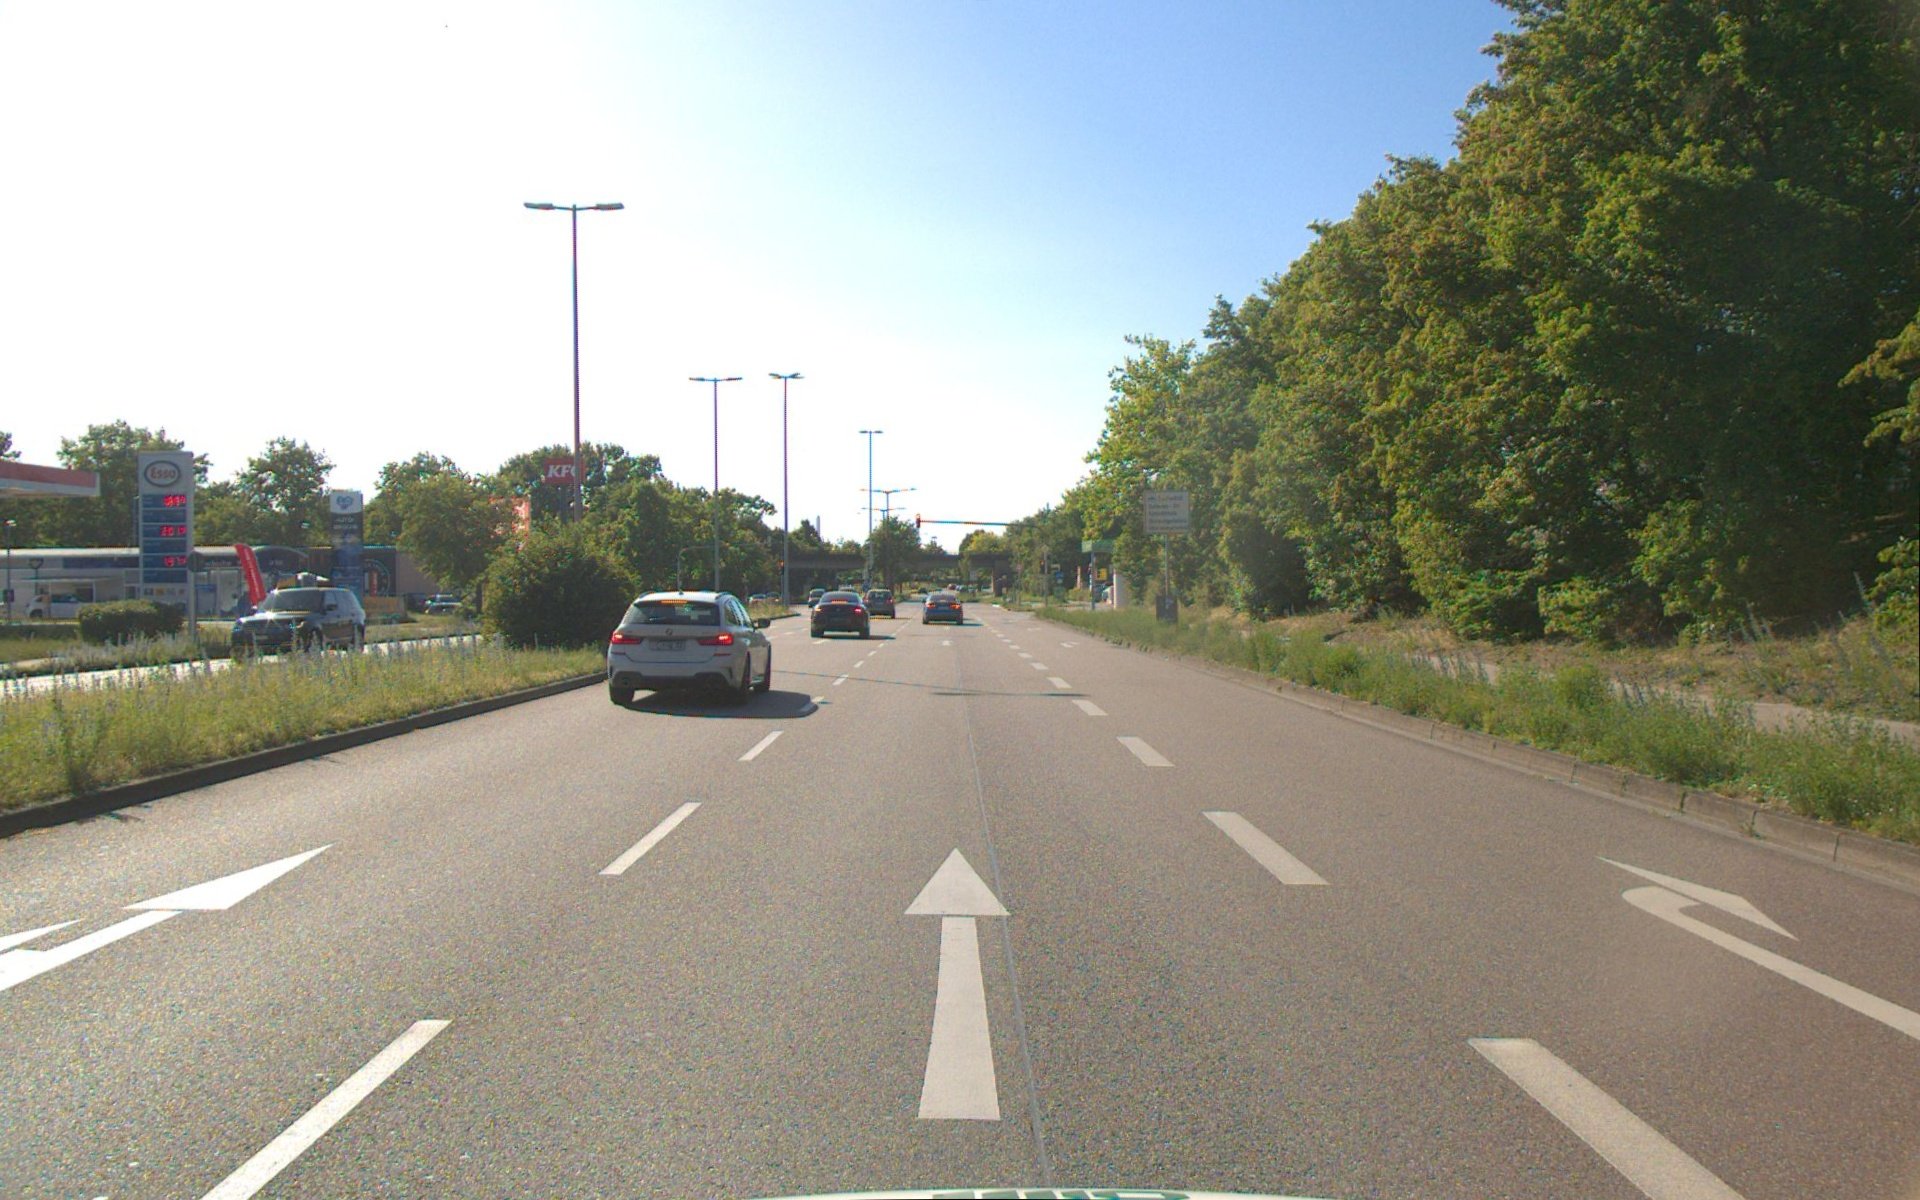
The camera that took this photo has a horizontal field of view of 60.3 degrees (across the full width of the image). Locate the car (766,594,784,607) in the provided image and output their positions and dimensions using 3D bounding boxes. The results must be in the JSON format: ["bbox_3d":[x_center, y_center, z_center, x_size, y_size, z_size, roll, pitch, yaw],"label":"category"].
[{"bbox_3d":[-20.672,0.033,185.016,1.669,1.426,3.722,-1,0,-1],"label":"car"}]

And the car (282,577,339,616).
[{"bbox_3d":[-37.723,-0.215,96.200,1.782,2.248,3.999,0,0,-1],"label":"car"}]

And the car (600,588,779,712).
[{"bbox_3d":[-3.636,0.607,22.981,1.824,1.480,4.546,1,1,-2],"label":"car"}]

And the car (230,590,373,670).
[{"bbox_3d":[-16.705,0.707,42.192,1.704,1.833,4.671,-3,0,0],"label":"car"}]

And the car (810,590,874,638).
[{"bbox_3d":[-3.840,0.439,54.286,1.824,1.480,4.547,-1,0,-1],"label":"car"}]

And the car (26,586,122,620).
[{"bbox_3d":[-50.026,0.158,93.453,4.297,1.875,1.999,0,0,-3],"label":"car"}]

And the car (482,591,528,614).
[{"bbox_3d":[-36.385,0.204,132.237,1.913,1.814,4.020,0,0,-44],"label":"car"}]

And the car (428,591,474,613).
[{"bbox_3d":[-43.191,0.146,140.389,4.011,1.814,1.917,0,0,40],"label":"car"}]

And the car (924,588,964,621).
[{"bbox_3d":[-0.760,0.189,77.692,1.824,1.525,4.336,0,0,-1],"label":"car"}]

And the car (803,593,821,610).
[{"bbox_3d":[-14.493,0.119,162.152,1.504,1.608,3.671,-1,0,-1],"label":"car"}]

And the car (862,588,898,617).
[{"bbox_3d":[-4.457,0.106,92.840,1.824,1.592,4.547,0,0,-1],"label":"car"}]

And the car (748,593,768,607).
[{"bbox_3d":[-20.825,-0.002,170.863,1.669,1.426,3.722,0,0,-1],"label":"car"}]

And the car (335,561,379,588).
[{"bbox_3d":[-46.155,-1.920,126.576,3.730,2.049,1.766,0,0,45],"label":"car"}]
